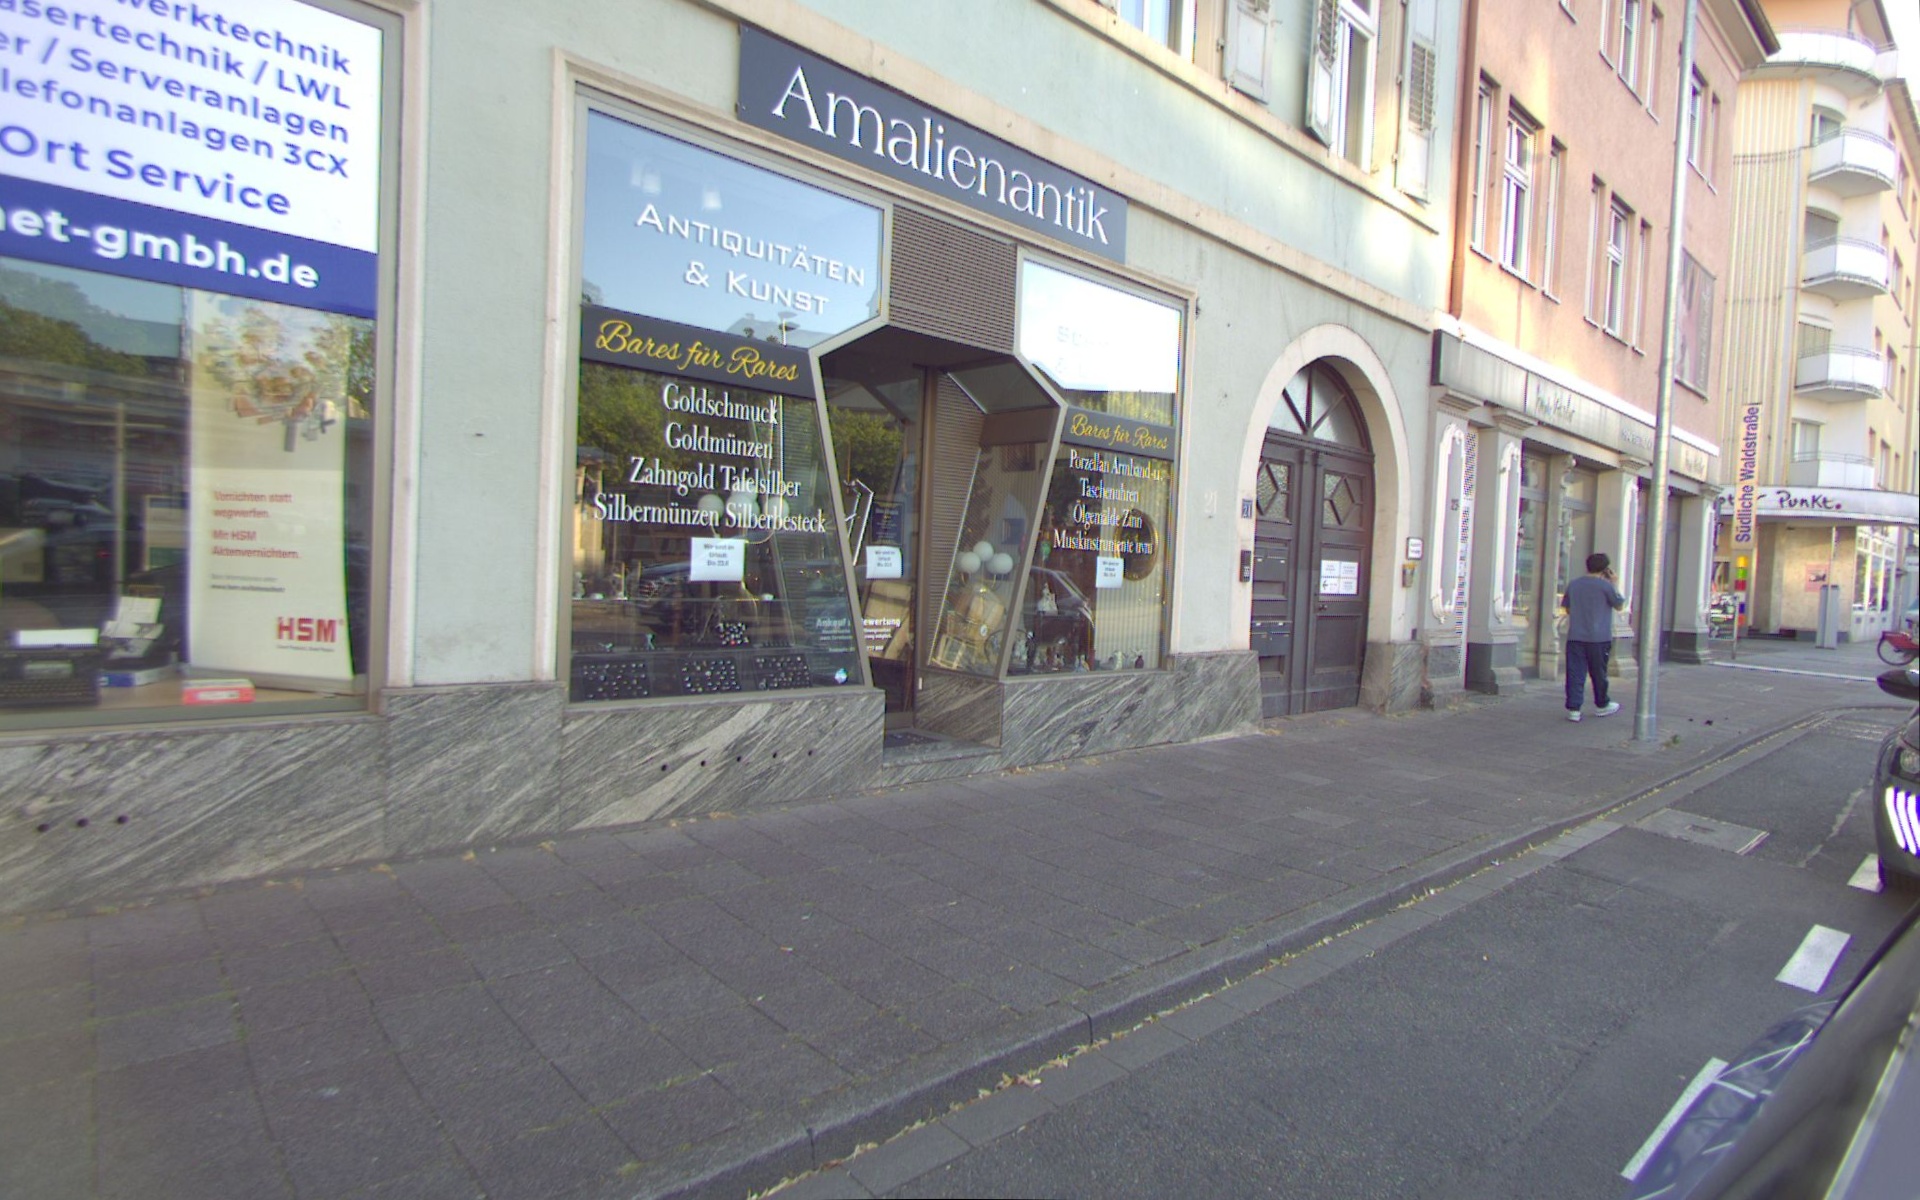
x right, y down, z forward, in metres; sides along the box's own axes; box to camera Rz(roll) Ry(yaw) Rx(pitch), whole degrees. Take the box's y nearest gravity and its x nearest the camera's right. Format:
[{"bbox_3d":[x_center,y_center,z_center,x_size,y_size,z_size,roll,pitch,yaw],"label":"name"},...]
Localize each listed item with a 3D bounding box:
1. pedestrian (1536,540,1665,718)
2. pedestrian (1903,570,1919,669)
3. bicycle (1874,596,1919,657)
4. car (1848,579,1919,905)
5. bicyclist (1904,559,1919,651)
[{"bbox_3d":[6.365,0.256,10.062,0.857,1.662,0.824,1,2,-43],"label":"pedestrian"},{"bbox_3d":[17.891,0.377,18.139,0.809,1.796,1.103,2,2,-7],"label":"pedestrian"},{"bbox_3d":[19.993,0.585,20.634,0.778,1.200,1.828,1,3,-32],"label":"bicycle"},{"bbox_3d":[6.468,0.687,5.418,4.370,1.464,1.908,0,2,-40],"label":"car"},{"bbox_3d":[20.003,0.119,20.662,0.815,1.848,0.837,1,2,-33],"label":"bicyclist"}]
